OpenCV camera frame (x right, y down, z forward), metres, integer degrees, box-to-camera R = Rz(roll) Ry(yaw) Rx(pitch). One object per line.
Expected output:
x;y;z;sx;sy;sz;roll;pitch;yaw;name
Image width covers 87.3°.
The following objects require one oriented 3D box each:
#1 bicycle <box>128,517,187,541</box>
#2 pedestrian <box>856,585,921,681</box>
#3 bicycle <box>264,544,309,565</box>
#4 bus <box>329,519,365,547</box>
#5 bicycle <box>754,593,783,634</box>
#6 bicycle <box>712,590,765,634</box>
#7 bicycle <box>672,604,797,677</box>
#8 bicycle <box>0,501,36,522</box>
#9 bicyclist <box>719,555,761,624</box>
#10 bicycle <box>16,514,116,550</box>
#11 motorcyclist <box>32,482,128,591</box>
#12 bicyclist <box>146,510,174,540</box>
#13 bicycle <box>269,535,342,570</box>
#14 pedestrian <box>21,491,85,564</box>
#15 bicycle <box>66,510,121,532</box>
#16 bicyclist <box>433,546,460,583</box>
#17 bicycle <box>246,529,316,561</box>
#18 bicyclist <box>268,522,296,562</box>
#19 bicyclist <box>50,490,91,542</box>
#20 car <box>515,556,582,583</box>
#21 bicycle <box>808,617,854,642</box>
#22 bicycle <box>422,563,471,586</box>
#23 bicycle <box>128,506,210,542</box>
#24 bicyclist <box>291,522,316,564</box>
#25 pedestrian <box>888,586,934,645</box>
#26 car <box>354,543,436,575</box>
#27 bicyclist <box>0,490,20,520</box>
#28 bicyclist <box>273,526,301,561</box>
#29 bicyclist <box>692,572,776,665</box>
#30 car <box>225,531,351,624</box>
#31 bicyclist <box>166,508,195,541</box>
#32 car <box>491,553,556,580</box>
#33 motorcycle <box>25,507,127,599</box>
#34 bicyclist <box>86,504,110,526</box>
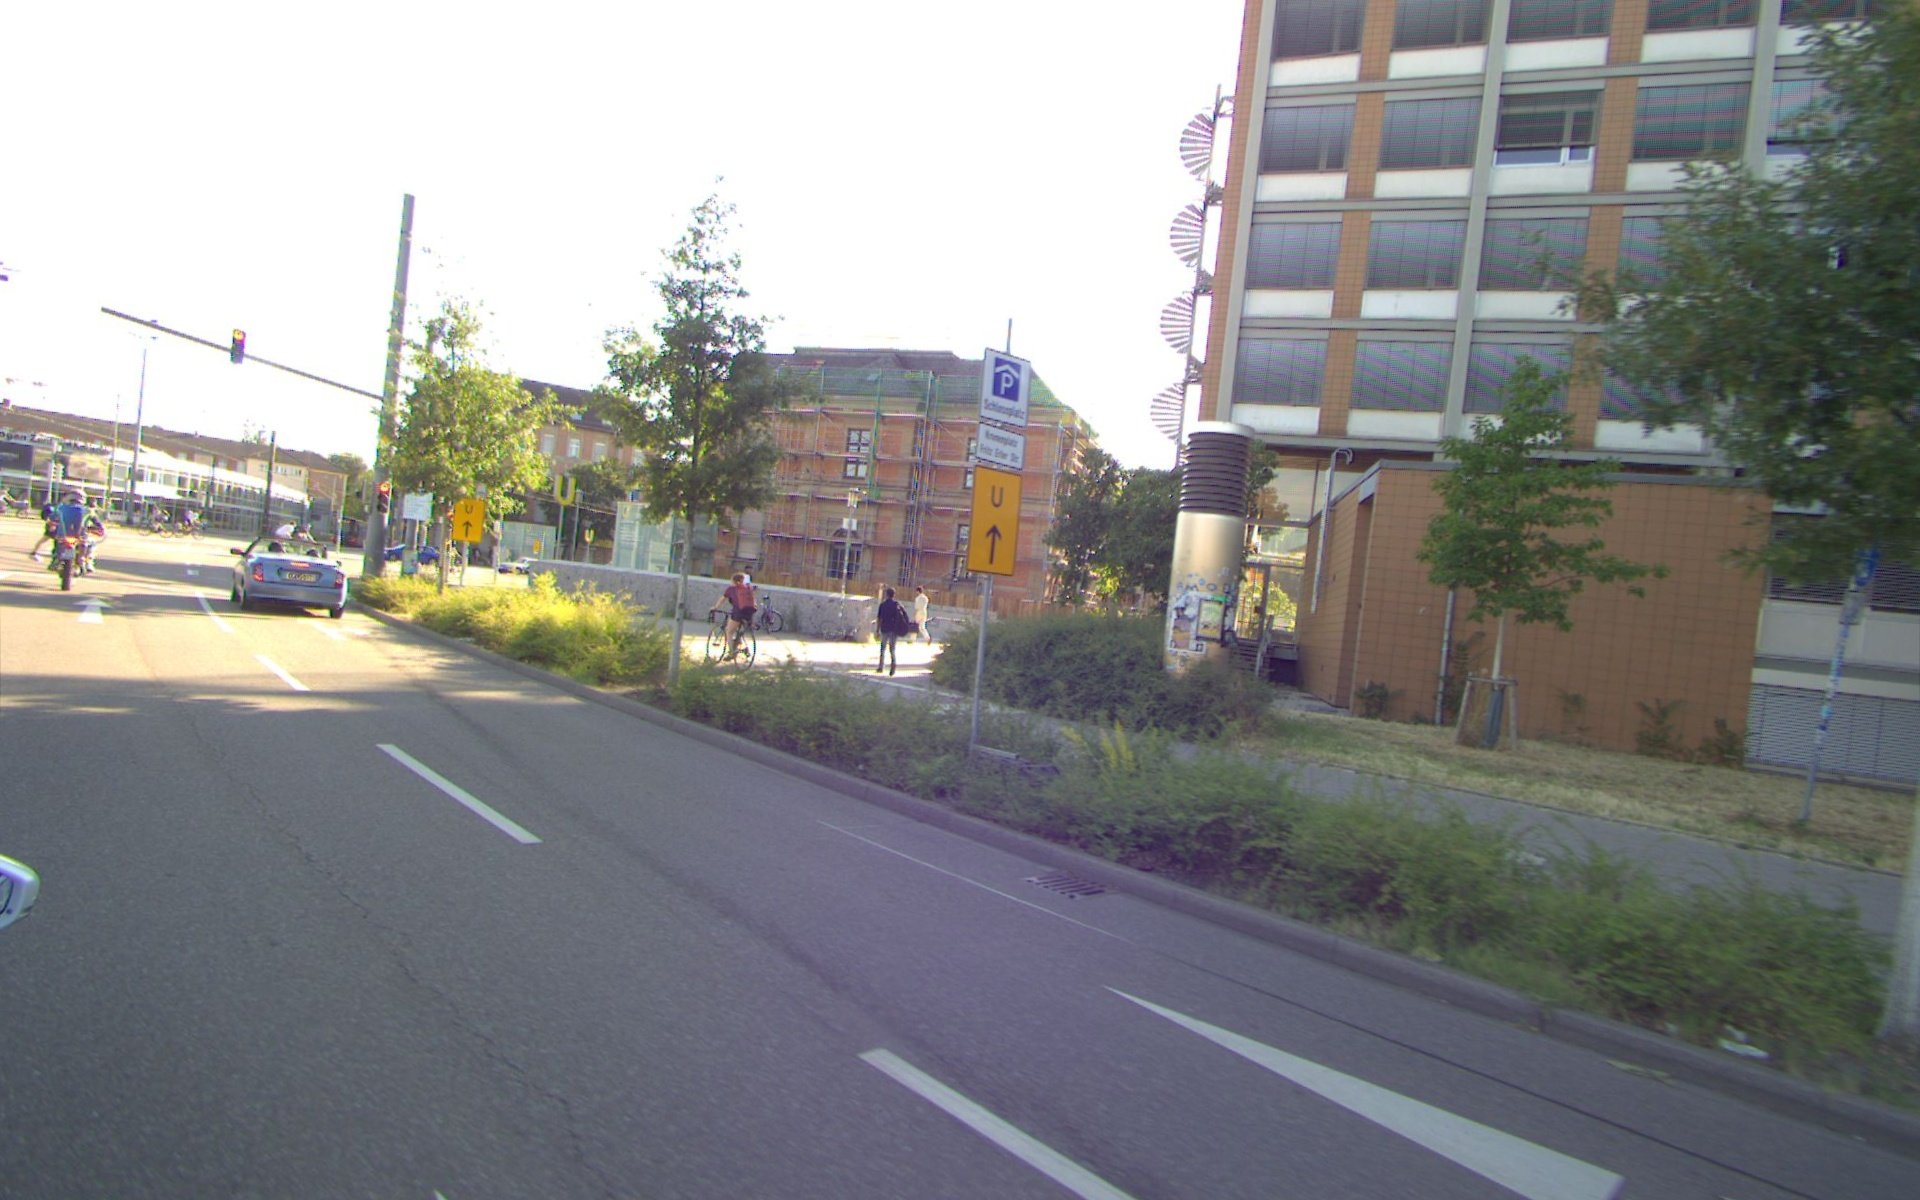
-46.231;-4.086;57.965;0.948;1.016;2.439;6;0;35;bicycle
-1.372;0.616;19.137;0.798;1.678;0.786;9;-1;-24;pedestrian
-35.403;-2.382;52.919;0.845;0.917;2.301;8;0;-4;bicycle
-74.390;-8.147;122.289;2.333;2.919;9.516;8;1;-25;bus
-5.444;0.364;28.520;0.618;1.052;1.957;4;0;-14;bicycle
-6.134;0.317;27.803;0.783;1.052;1.947;4;1;-31;bicycle
-3.748;0.653;16.632;2.217;0.963;0.719;5;-2;39;bicycle
-55.694;-5.238;58.795;0.845;0.991;2.299;9;0;30;bicycle
-6.065;-0.299;27.743;0.780;1.809;0.887;4;1;-32;bicyclist
-32.206;-2.442;36.299;0.845;0.885;2.497;9;0;29;bicycle
-15.583;-1.115;17.852;1.091;1.742;0.927;7;-1;-39;motorcyclist
-46.140;-4.315;58.047;0.948;1.579;0.923;7;1;35;bicyclist
-28.492;-2.073;43.805;2.483;1.147;0.850;8;1;-40;bicycle
-22.753;-1.801;25.250;0.685;1.692;0.829;6;1;11;pedestrian
-52.036;-4.747;60.459;0.844;0.971;2.302;9;1;24;bicycle
-25.937;-1.791;50.835;0.844;1.712;0.651;8;1;14;bicyclist
-31.421;-2.535;46.605;0.846;1.147;2.496;9;0;32;bicycle
-31.407;-2.687;46.605;0.846;1.712;0.650;9;2;33;bicyclist
-32.114;-3.014;36.312;0.845;1.712;0.746;9;1;29;bicyclist
-30.728;-2.251;75.174;1.928;1.504;4.079;6;0;44;car
-3.623;0.826;28.212;1.336;0.547;0.428;7;2;37;bicycle
-25.975;-1.260;50.926;0.844;0.917;2.304;8;0;14;bicycle
-51.923;-4.974;66.092;1.120;1.711;3.992;9;0;32;bicycle
-28.535;-2.492;43.719;0.647;1.712;0.850;7;2;-41;bicyclist
-1.554;0.491;31.925;0.921;1.745;0.985;7;1;31;pedestrian
-39.299;-2.864;69.995;4.586;1.613;1.930;7;0;-43;car
-55.668;-5.580;58.689;0.845;1.579;0.925;9;1;30;bicyclist
-35.303;-2.972;52.772;0.845;1.712;0.650;8;1;-5;bicyclist
-3.742;0.304;16.662;1.060;1.401;0.719;5;-1;39;bicyclist
-13.358;-0.485;20.129;1.789;1.461;3.944;8;-1;-33;car
-51.623;-5.014;66.629;1.104;1.924;1.071;9;1;32;bicyclist
-33.316;-2.545;76.812;1.928;1.470;4.085;6;0;44;car
-15.594;-0.844;17.824;1.091;1.394;2.625;7;-1;-38;motorcycle
-51.909;-5.134;60.598;0.822;1.157;0.714;9;1;24;bicyclist
